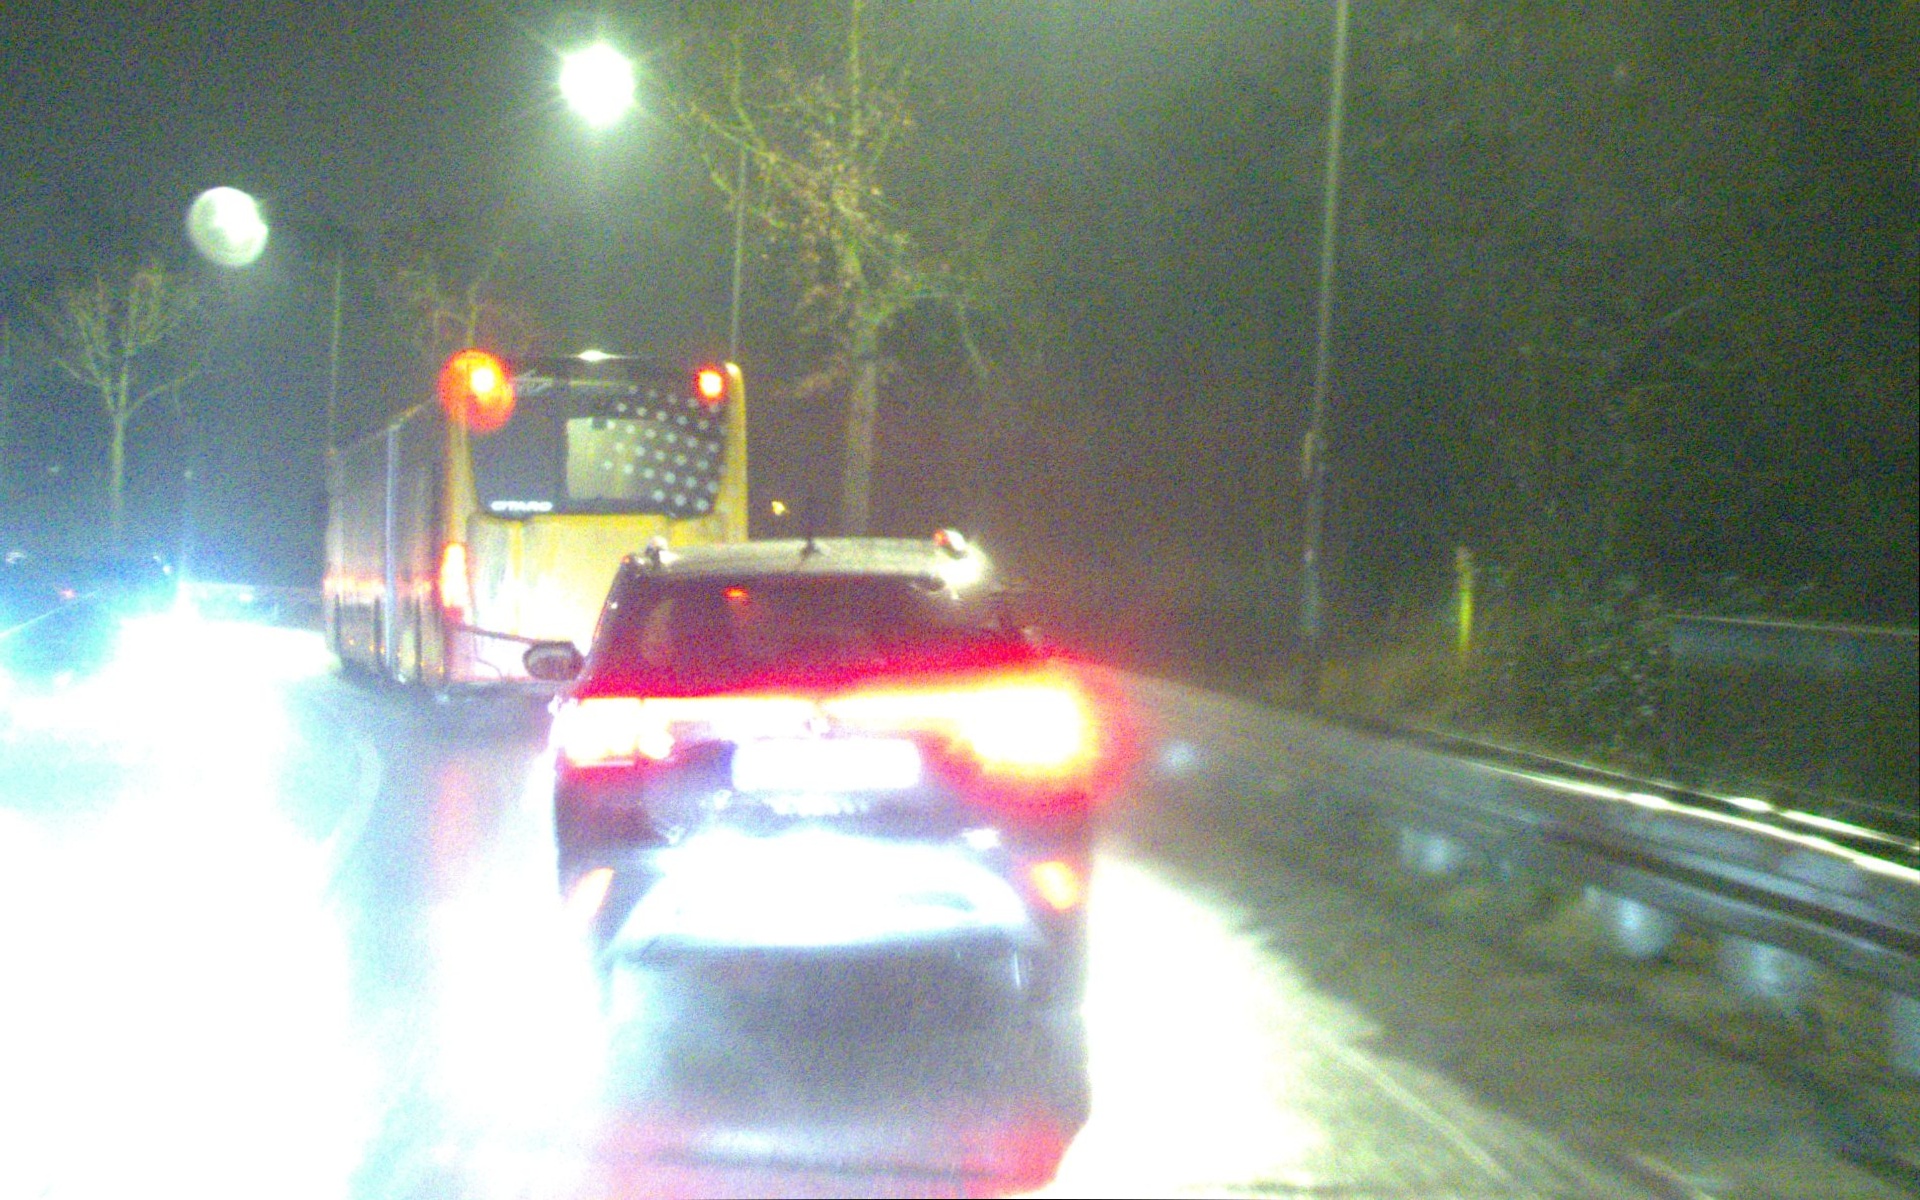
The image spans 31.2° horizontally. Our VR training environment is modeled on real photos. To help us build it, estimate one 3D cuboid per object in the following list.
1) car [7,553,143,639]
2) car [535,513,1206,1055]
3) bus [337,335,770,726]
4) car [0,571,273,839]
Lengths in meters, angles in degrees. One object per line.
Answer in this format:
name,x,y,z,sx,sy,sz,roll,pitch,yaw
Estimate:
car,-18.086,-0.110,70.196,1.636,1.650,3.710,-3,2,-31
car,-0.496,0.510,12.142,1.855,1.581,4.001,0,1,-9
bus,-4.386,-0.691,33.969,3.082,3.122,12.701,-1,1,-12
car,-5.931,0.637,23.729,1.897,1.561,4.736,0,2,-6
